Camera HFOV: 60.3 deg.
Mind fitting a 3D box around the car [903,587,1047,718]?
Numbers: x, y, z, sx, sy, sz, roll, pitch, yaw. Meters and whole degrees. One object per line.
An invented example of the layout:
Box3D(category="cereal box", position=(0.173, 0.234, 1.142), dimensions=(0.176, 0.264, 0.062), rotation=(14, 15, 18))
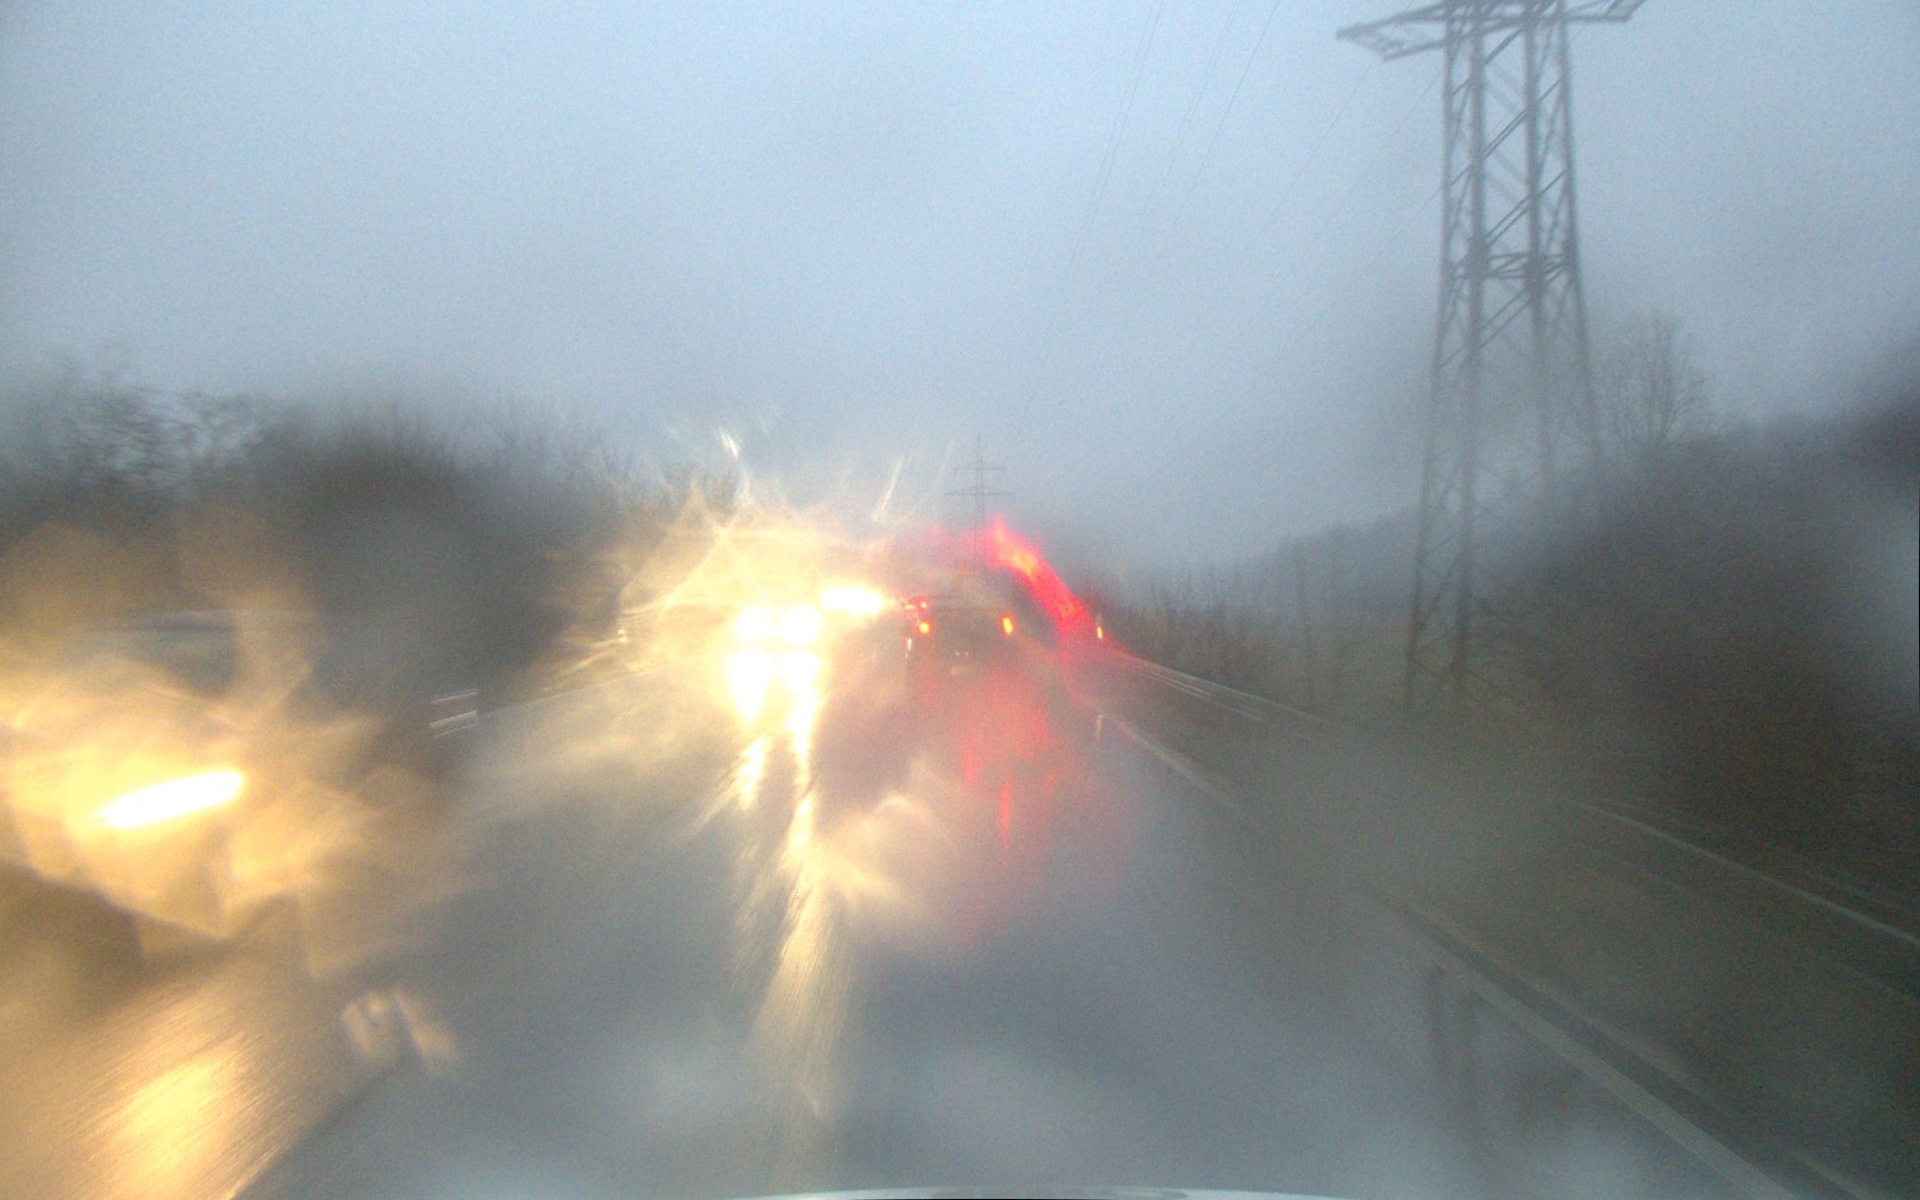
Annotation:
Box3D(category="car", position=(0.177, 0.717, 24.492), dimensions=(1.953, 1.783, 3.999), rotation=(0, 0, -1))

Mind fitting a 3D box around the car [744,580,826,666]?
Box3D(category="car", position=(-4.682, 0.647, 44.692), dimensions=(1.791, 2.156, 3.999), rotation=(1, -2, -1))

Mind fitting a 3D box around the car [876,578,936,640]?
Box3D(category="car", position=(-1.828, 0.307, 56.927), dimensions=(1.953, 2.049, 3.999), rotation=(-1, 0, -1))

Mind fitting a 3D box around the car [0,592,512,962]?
Box3D(category="car", position=(-3.745, 0.742, 8.507), dimensions=(1.791, 1.434, 3.999), rotation=(1, -2, -1))

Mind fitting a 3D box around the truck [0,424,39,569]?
Box3D(category="truck", position=(-26.125, -2.687, 41.287), dimensions=(2.931, 3.696, 6.065), rotation=(0, 0, -1))
